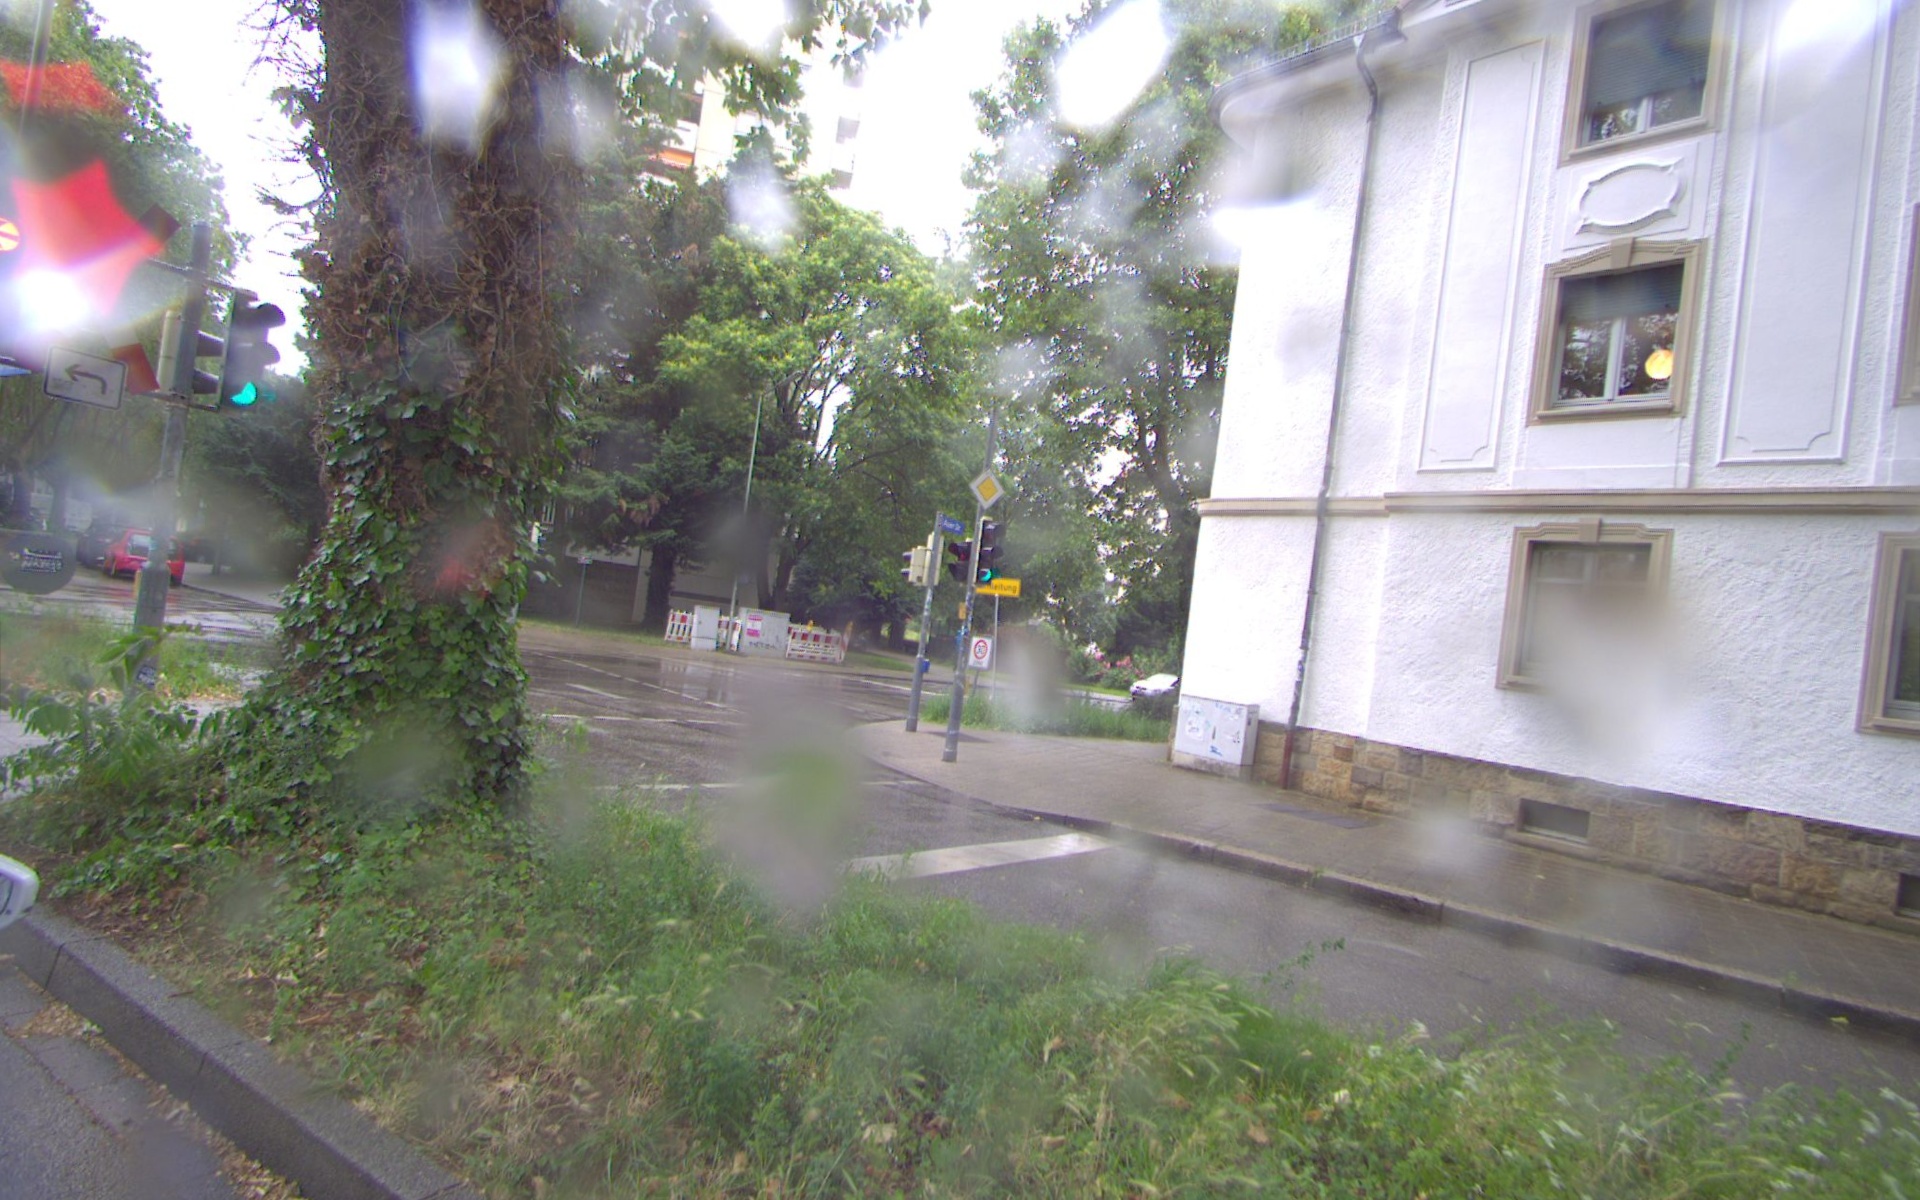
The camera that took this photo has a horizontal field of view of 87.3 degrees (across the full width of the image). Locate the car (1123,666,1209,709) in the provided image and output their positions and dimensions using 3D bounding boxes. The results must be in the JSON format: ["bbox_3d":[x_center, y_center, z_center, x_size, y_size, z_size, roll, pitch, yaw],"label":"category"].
[{"bbox_3d":[9.406,4.002,45.803,1.829,1.473,3.979,6,-3,45],"label":"car"}]

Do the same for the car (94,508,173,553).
[{"bbox_3d":[-69.653,-5.845,84.812,4.683,2.982,2.001,7,-1,1],"label":"car"}]

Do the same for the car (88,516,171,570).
[{"bbox_3d":[-28.102,-1.941,33.998,1.780,1.363,3.879,10,-2,-44],"label":"car"}]

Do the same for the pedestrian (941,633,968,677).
[{"bbox_3d":[-0.240,2.458,45.225,0.675,1.863,0.707,8,-1,-44],"label":"pedestrian"}]

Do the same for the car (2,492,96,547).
[{"bbox_3d":[-61.115,-5.395,67.531,4.680,2.982,2.043,7,-1,12],"label":"car"}]

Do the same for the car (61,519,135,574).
[{"bbox_3d":[-32.988,-2.082,38.453,1.779,1.747,3.951,9,-2,-44],"label":"car"}]

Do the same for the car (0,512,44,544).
[{"bbox_3d":[-56.209,-4.382,58.627,1.974,1.565,3.980,6,-3,44],"label":"car"}]

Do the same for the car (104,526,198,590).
[{"bbox_3d":[-24.836,-1.313,30.841,1.788,1.515,3.950,10,-2,-44],"label":"car"}]
